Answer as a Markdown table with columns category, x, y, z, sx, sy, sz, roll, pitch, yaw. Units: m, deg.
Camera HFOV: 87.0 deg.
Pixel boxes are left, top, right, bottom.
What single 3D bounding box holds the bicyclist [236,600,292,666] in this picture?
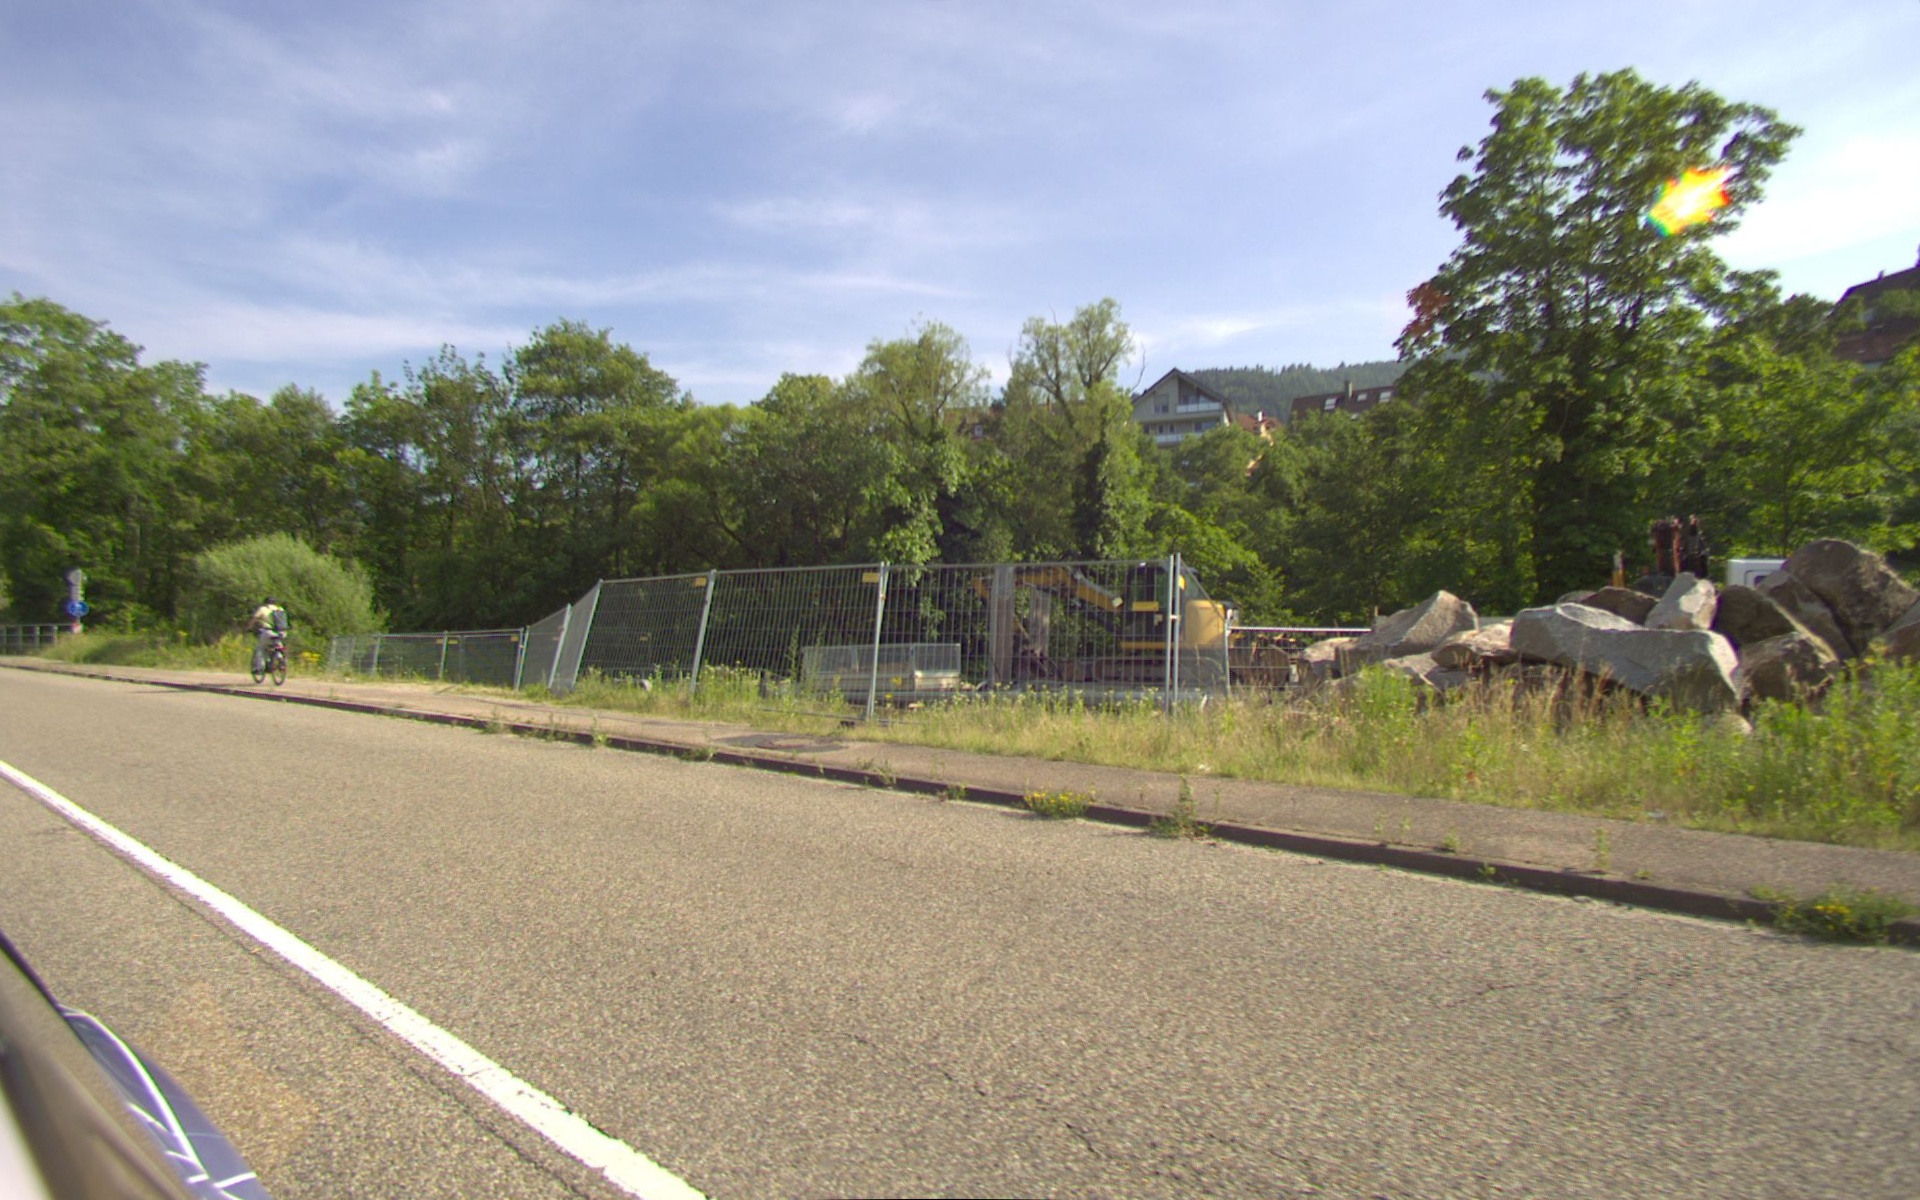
| category | x | y | z | sx | sy | sz | roll | pitch | yaw |
| --- | --- | --- | --- | --- | --- | --- | --- | --- | --- |
| bicyclist | -13.546 | 0.635 | 19.703 | 0.857 | 1.234 | 0.677 | -2 | -1 | 37 |

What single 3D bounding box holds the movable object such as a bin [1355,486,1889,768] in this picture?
| category | x | y | z | sx | sy | sz | roll | pitch | yaw |
| --- | --- | --- | --- | --- | --- | --- | --- | --- | --- |
| movable object such as a bin | 10.958 | 0.503 | 17.554 | 7.216 | 3.978 | 2.696 | -1 | -4 | 37 |

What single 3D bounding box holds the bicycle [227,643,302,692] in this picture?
| category | x | y | z | sx | sy | sz | roll | pitch | yaw |
| --- | --- | --- | --- | --- | --- | --- | --- | --- | --- |
| bicycle | -13.597 | 1.297 | 19.762 | 2.249 | 0.888 | 0.534 | -1 | 0 | 38 |

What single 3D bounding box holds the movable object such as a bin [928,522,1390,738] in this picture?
| category | x | y | z | sx | sy | sz | roll | pitch | yaw |
| --- | --- | --- | --- | --- | --- | --- | --- | --- | --- |
| movable object such as a bin | 4.042 | 0.709 | 22.664 | 9.970 | 3.977 | 2.675 | -1 | -4 | 36 |
